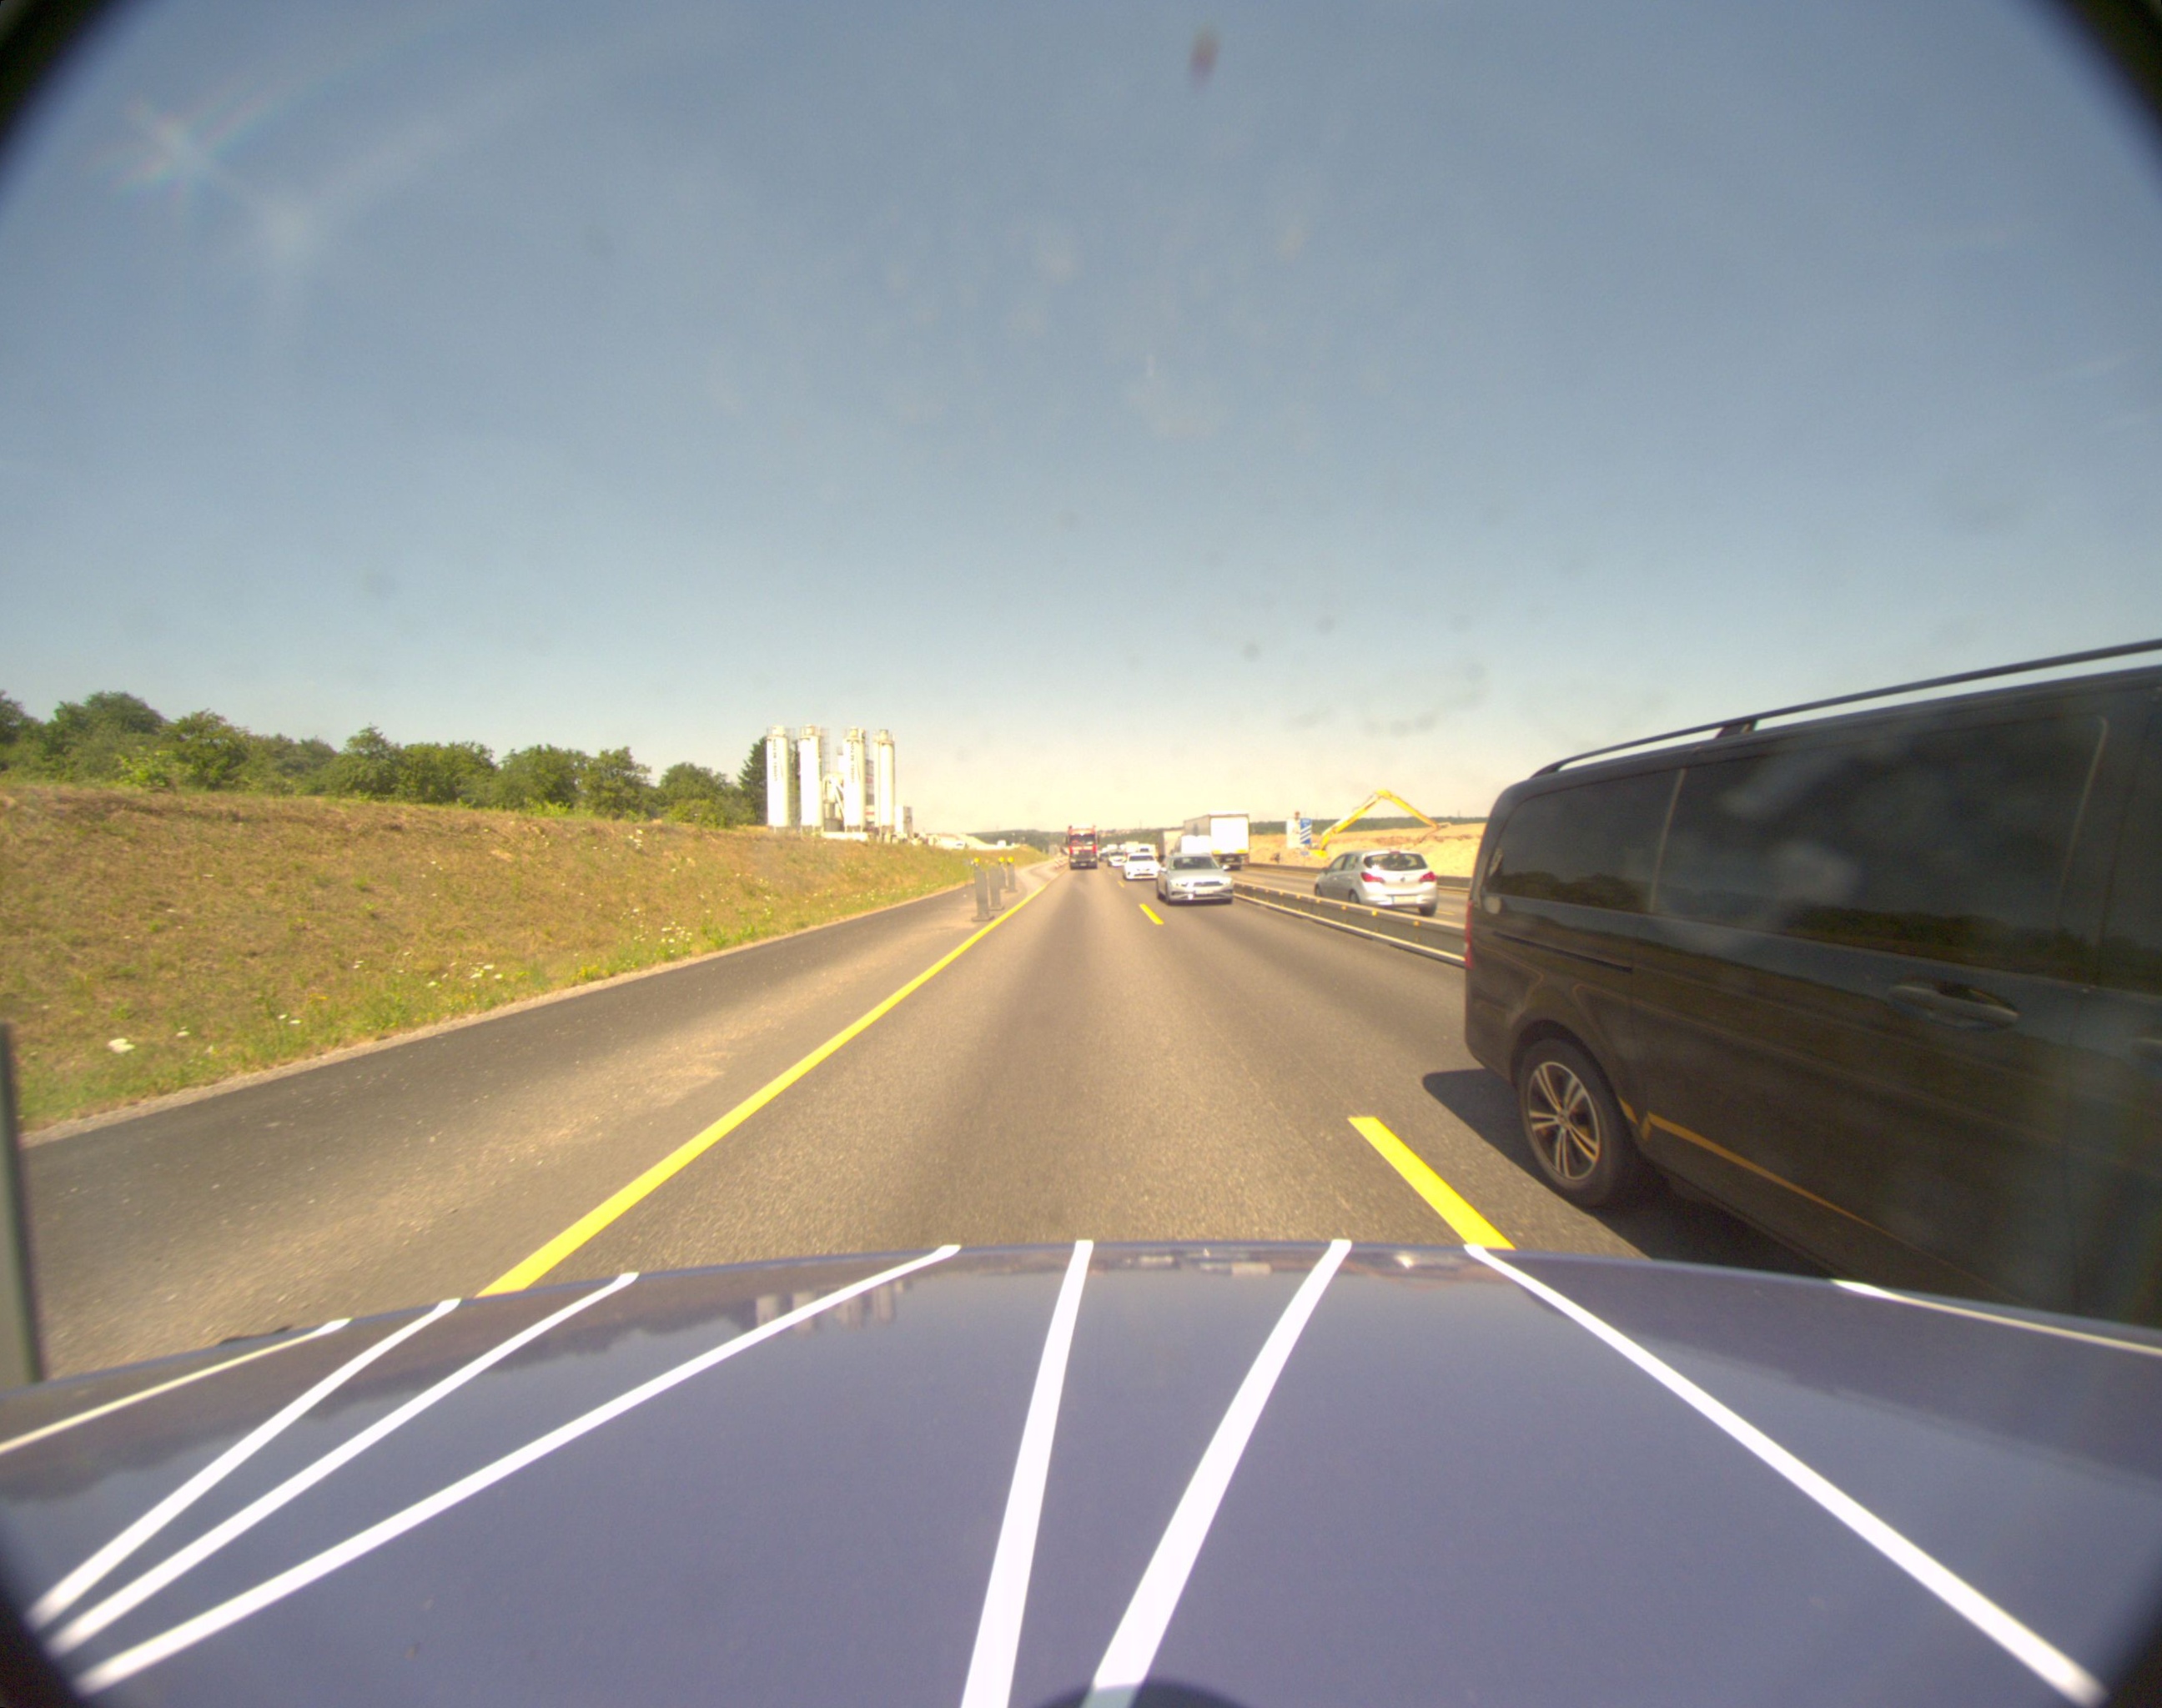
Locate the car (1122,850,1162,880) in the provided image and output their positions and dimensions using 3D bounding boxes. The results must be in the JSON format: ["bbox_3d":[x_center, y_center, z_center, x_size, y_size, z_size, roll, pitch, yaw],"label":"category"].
[{"bbox_3d":[3.207,0.553,40.726,1.875,1.390,4.029,-2,1,1],"label":"car"}]

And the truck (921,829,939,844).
[{"bbox_3d":[-27.165,-3.127,137.030,2.021,2.531,4.041,-2,1,4],"label":"truck"}]

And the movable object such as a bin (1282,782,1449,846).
[{"bbox_3d":[33.425,-4.655,89.742,18.266,6.734,3.388,-2,1,1],"label":"movable object such as a bin"}]

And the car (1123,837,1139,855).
[{"bbox_3d":[10.970,-1.799,167.555,2.915,3.718,8.090,-2,0,1],"label":"car"}]

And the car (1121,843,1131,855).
[{"bbox_3d":[11.557,-1.327,197.039,2.257,2.939,5.848,-2,1,1],"label":"car"}]

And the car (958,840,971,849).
[{"bbox_3d":[-24.229,-2.059,158.184,1.990,1.752,3.601,-2,1,0],"label":"car"}]

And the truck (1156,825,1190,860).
[{"bbox_3d":[10.293,-1.291,86.028,2.651,3.695,9.481,-2,1,1],"label":"truck"}]

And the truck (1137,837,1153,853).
[{"bbox_3d":[11.262,-1.499,134.256,2.103,2.554,6.355,-3,-1,0],"label":"truck"}]

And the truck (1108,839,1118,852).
[{"bbox_3d":[8.025,-2.213,192.169,2.276,3.132,7.313,-2,1,2],"label":"truck"}]

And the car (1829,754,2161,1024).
[{"bbox_3d":[9.599,0.267,6.306,1.998,2.143,4.864,0,1,1],"label":"car"}]

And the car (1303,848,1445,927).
[{"bbox_3d":[6.531,0.664,17.407,1.693,1.493,3.975,-2,1,0],"label":"car"}]

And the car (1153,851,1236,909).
[{"bbox_3d":[3.239,0.692,22.419,1.804,1.499,4.100,-2,0,0],"label":"car"}]

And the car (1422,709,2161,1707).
[{"bbox_3d":[2.826,0.633,1.479,1.878,1.840,5.478,-2,0,1],"label":"car"}]

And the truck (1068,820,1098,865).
[{"bbox_3d":[0.285,-1.090,71.752,2.537,3.799,9.480,-2,1,2],"label":"truck"}]

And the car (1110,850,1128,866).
[{"bbox_3d":[3.775,0.365,76.058,1.601,1.390,3.695,-2,1,1],"label":"car"}]

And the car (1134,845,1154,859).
[{"bbox_3d":[7.451,-0.249,90.231,1.862,1.434,4.499,-2,1,-2],"label":"car"}]

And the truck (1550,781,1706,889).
[{"bbox_3d":[16.844,-0.582,23.781,2.581,2.947,5.068,-2,1,19],"label":"truck"}]

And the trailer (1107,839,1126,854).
[{"bbox_3d":[11.047,-2.363,239.117,2.995,4.570,12.871,-3,1,-9],"label":"trailer"}]

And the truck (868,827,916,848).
[{"bbox_3d":[-24.996,-2.154,100.489,5.317,2.530,2.897,-3,1,-36],"label":"truck"}]

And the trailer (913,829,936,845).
[{"bbox_3d":[-27.444,-3.009,133.571,1.998,2.629,6.937,-2,1,4],"label":"trailer"}]

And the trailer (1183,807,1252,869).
[{"bbox_3d":[9.966,-1.199,57.184,2.861,4.070,13.650,-1,1,1],"label":"trailer"}]

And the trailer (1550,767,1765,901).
[{"bbox_3d":[20.184,-0.787,26.430,8.381,4.075,2.793,-3,2,-29],"label":"trailer"}]

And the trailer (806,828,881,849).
[{"bbox_3d":[-30.855,-2.016,98.797,8.919,2.592,2.463,-1,1,-3],"label":"trailer"}]

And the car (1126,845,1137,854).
[{"bbox_3d":[8.939,-0.836,135.567,1.631,1.476,4.053,-2,1,1],"label":"car"}]

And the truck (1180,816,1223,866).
[{"bbox_3d":[10.027,-1.059,63.806,2.856,3.995,4.858,-1,1,1],"label":"truck"}]

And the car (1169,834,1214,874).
[{"bbox_3d":[6.834,-0.024,47.486,1.998,2.279,5.342,-2,1,0],"label":"car"}]
